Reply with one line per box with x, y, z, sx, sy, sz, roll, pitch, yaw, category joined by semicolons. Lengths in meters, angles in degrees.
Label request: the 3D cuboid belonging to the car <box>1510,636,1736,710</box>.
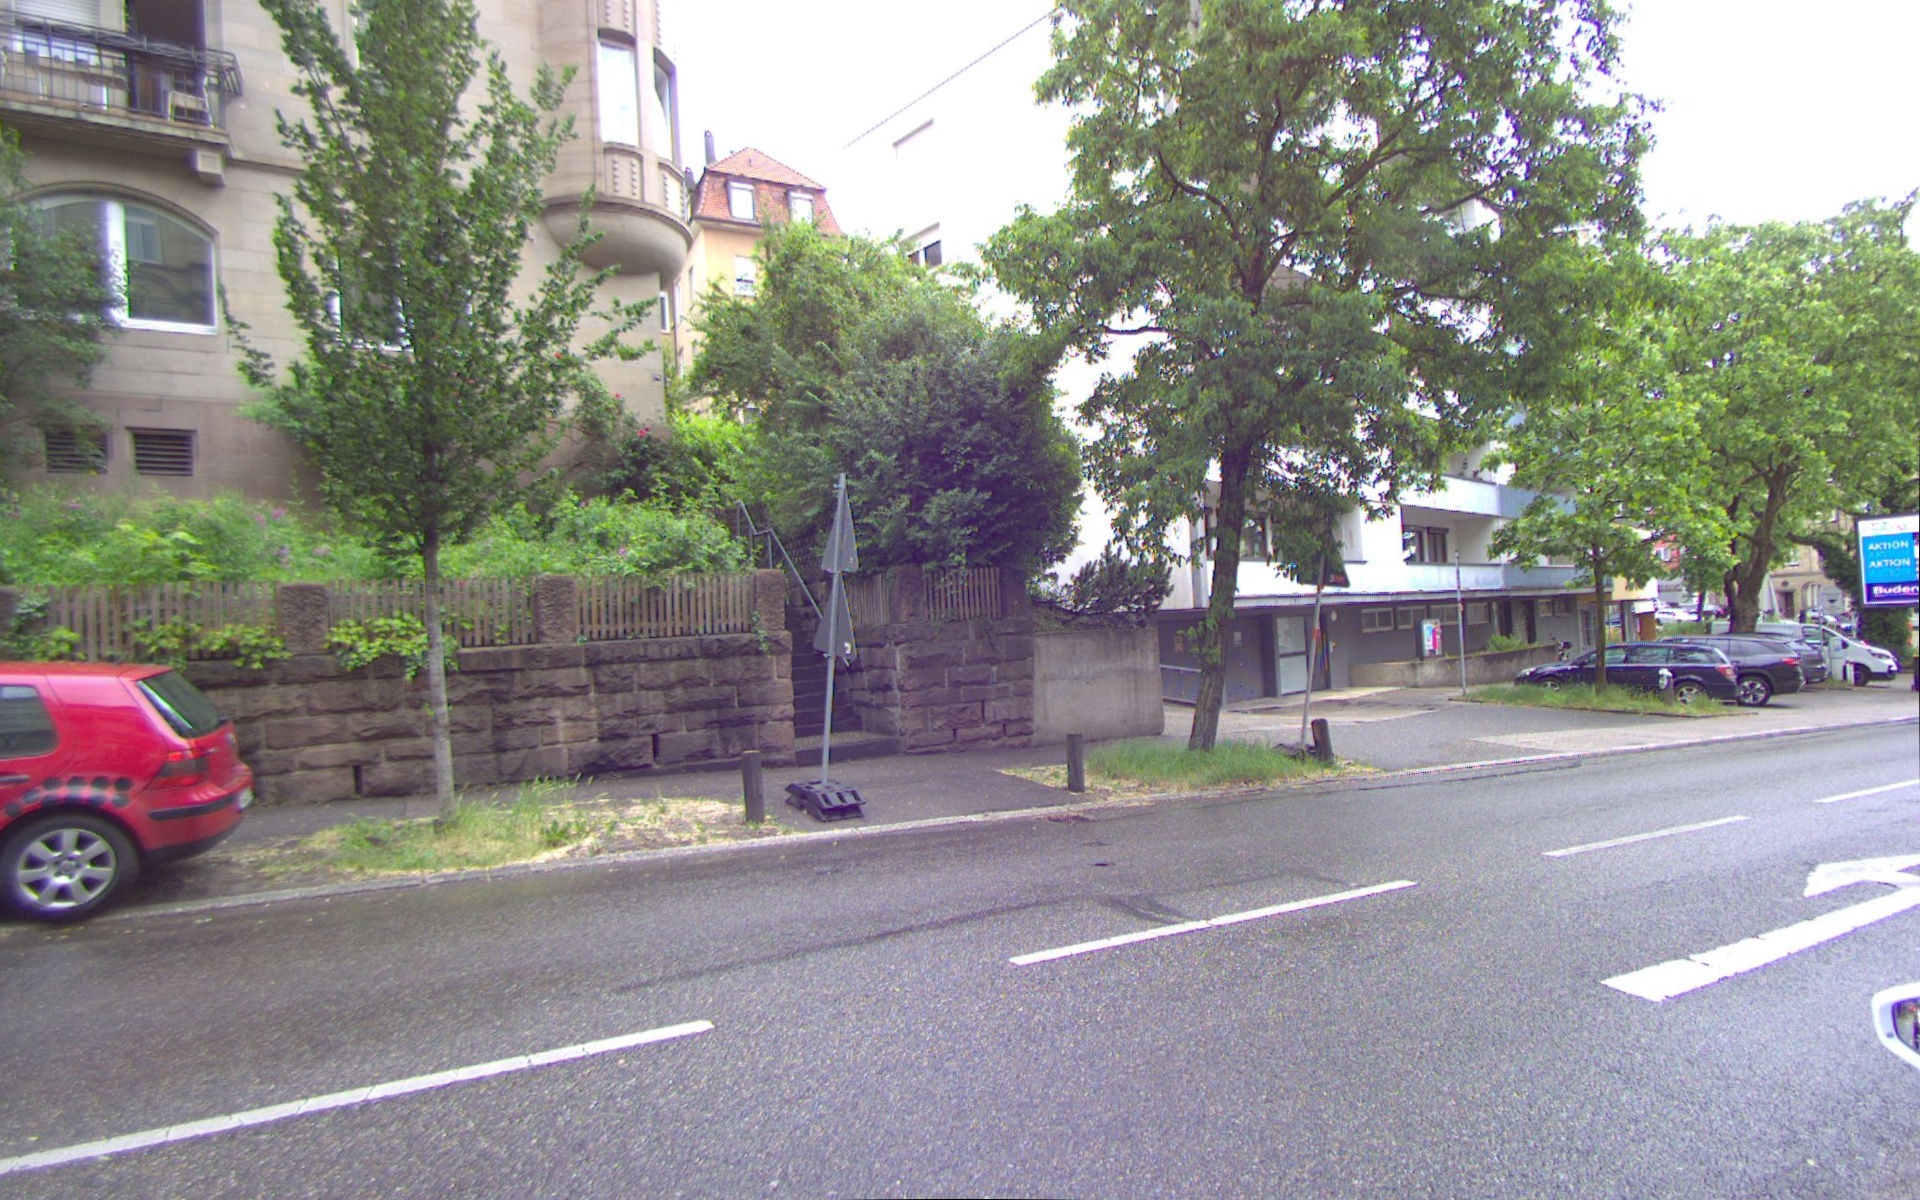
15.635;1.702;23.800;4.303;1.594;1.935;-3;-4;38;car

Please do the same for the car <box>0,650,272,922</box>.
-6.519;1.054;5.822;4.015;1.470;1.606;1;-2;-30;car

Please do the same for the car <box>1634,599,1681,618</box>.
68.435;0.833;98.574;1.694;1.711;3.999;2;0;-2;car

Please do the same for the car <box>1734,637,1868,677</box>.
32.905;2.197;39.424;3.925;1.469;1.761;-2;-3;40;car

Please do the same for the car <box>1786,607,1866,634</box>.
60.451;1.408;70.228;1.960;1.749;4.250;-1;0;1;car

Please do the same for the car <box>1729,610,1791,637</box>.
69.207;1.996;86.979;1.961;2.130;4.291;-1;1;-1;car

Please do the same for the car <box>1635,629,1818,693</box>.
23.306;1.824;30.664;4.305;1.807;1.931;-2;-3;40;car

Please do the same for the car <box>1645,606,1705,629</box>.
60.346;1.481;84.895;1.961;1.749;4.249;-2;-1;-1;car

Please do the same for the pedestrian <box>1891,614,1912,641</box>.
56.022;1.644;59.789;0.708;1.597;0.536;-1;-4;-20;pedestrian

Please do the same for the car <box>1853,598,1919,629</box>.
69.440;0.972;74.817;1.961;2.130;4.291;-1;1;-1;car

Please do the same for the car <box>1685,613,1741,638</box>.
69.081;2.279;92.227;1.961;2.130;4.291;-1;1;-1;car

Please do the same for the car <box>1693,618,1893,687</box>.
27.622;1.711;33.525;5.000;2.132;1.983;-2;-3;40;car

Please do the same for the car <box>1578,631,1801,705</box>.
18.060;1.686;25.034;4.312;1.694;1.848;-3;-4;38;car
